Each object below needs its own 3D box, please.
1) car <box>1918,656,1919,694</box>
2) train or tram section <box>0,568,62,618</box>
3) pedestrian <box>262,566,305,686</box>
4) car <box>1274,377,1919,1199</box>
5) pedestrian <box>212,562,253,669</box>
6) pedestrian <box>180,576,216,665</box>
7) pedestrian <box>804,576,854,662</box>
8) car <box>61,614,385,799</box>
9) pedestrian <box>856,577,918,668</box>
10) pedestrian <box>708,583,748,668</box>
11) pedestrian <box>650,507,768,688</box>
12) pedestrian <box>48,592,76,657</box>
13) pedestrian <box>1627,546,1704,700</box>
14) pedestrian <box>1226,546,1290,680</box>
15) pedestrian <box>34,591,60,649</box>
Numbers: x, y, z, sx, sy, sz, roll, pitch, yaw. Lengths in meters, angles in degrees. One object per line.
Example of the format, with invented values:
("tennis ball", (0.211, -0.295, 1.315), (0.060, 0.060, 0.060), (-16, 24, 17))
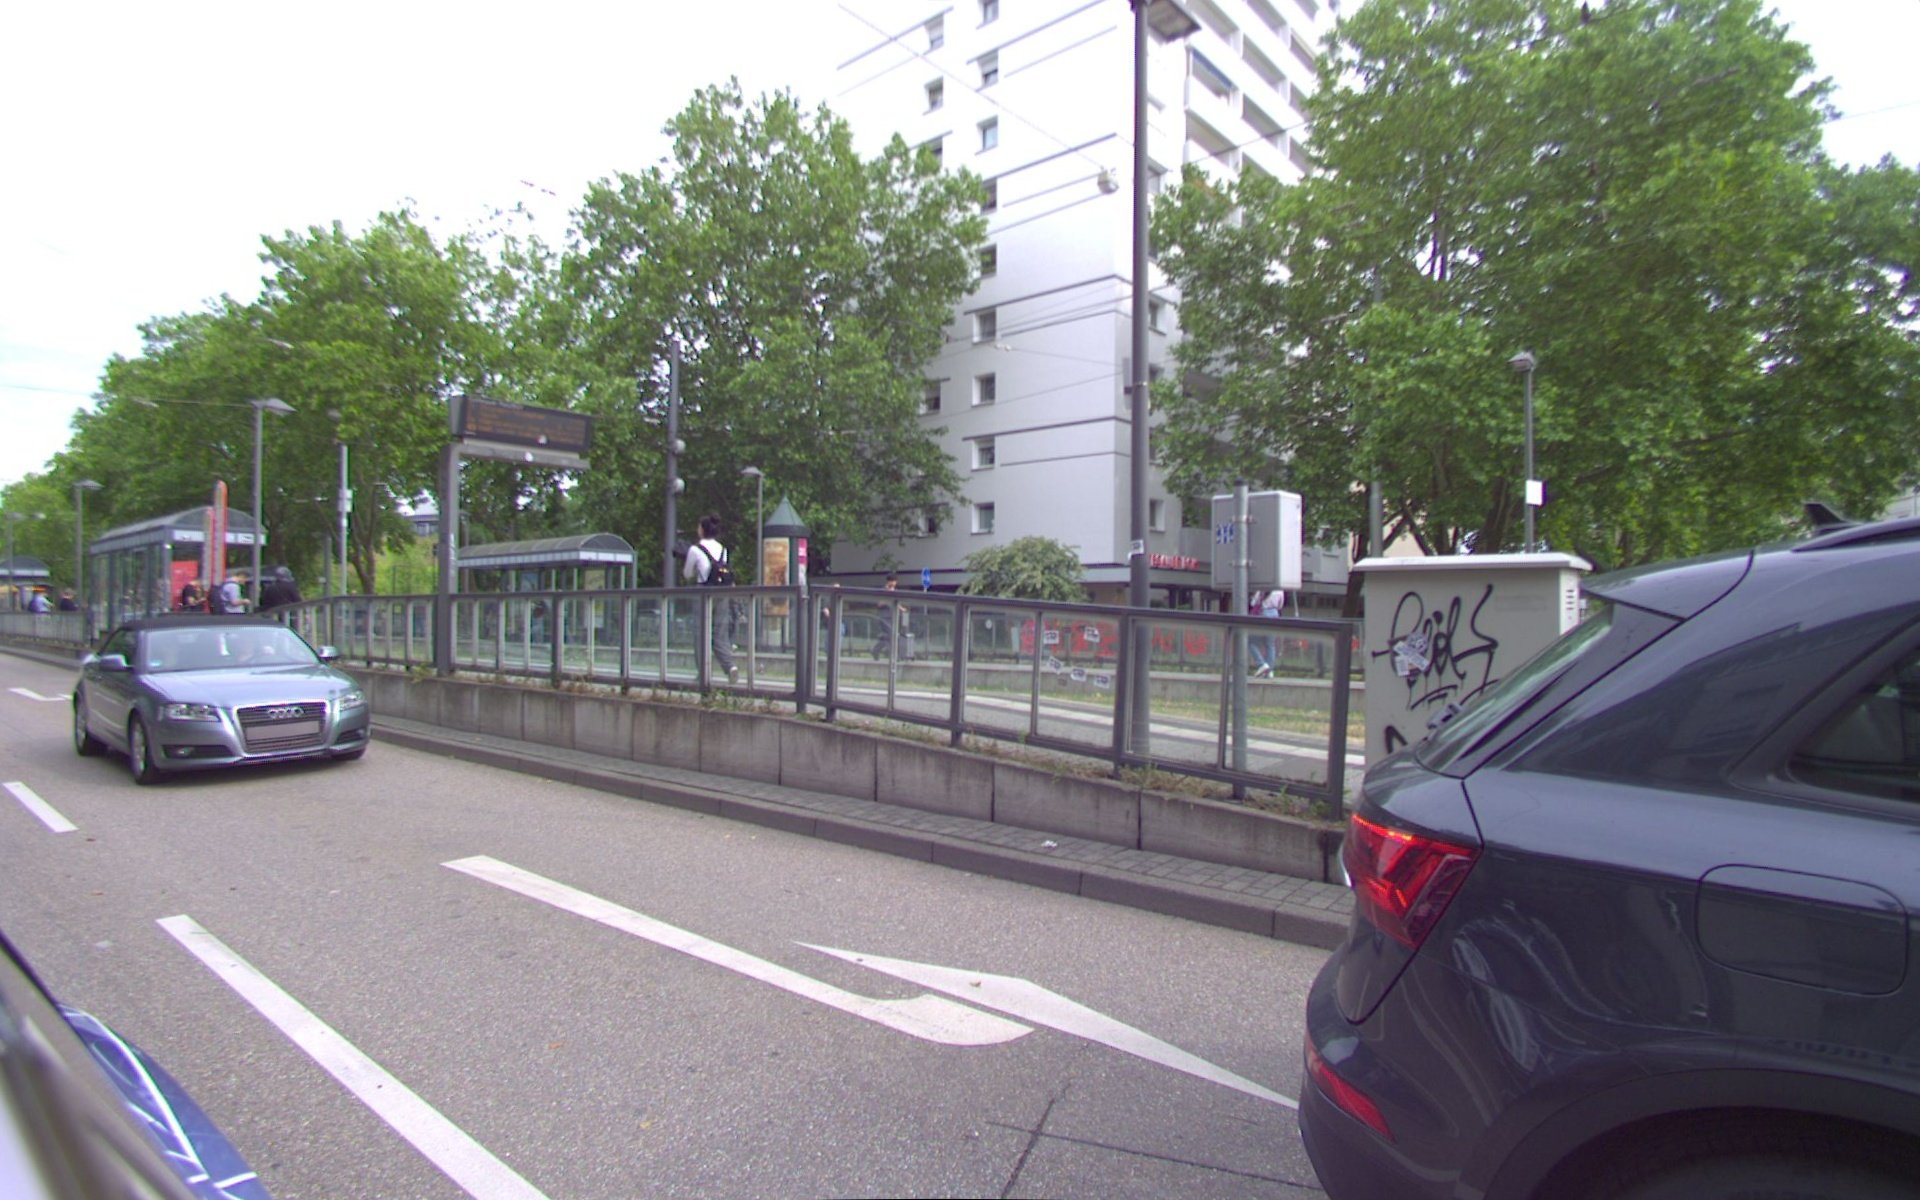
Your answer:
("car", (43.519, 3.332, 43.180), (1.979, 1.697, 3.986), (0, -1, 11))
("train or tram section", (-77.353, -0.448, 83.285), (15.196, 3.781, 3.295), (-1, 0, 41))
("pedestrian", (-10.532, 0.390, 15.749), (0.513, 1.818, 0.606), (-1, 0, -37))
("car", (2.687, 0.541, 0.980), (4.225, 1.649, 1.715), (-1, 0, 41))
("pedestrian", (-12.708, 0.267, 17.677), (0.605, 1.818, 0.469), (-1, 0, 45))
("pedestrian", (-15.928, 0.420, 21.169), (0.467, 1.818, 0.607), (-1, 0, -24))
("pedestrian", (-2.922, 0.411, 22.528), (0.666, 1.848, 0.871), (-1, 0, 41))
("car", (-7.287, 0.855, 9.845), (4.097, 1.398, 1.694), (-1, 0, 41))
("pedestrian", (-1.455, 0.433, 20.094), (0.850, 1.769, 0.871), (-1, 0, 41))
("pedestrian", (-5.426, 0.584, 23.693), (0.553, 1.945, 0.690), (-1, 0, 41))
("pedestrian", (-2.493, -0.020, 10.015), (0.979, 1.683, 0.711), (-1, 0, 44))
("pedestrian", (-25.571, 0.694, 28.830), (0.523, 1.818, 0.607), (-1, 0, -35))
("pedestrian", (8.429, 0.263, 12.093), (0.666, 1.763, 0.728), (-1, 0, 41))
("pedestrian", (4.522, 0.186, 15.337), (0.666, 1.965, 0.728), (-1, 0, 41))
("pedestrian", (-29.041, 0.625, 32.192), (0.523, 1.818, 0.607), (-1, 0, -35))
